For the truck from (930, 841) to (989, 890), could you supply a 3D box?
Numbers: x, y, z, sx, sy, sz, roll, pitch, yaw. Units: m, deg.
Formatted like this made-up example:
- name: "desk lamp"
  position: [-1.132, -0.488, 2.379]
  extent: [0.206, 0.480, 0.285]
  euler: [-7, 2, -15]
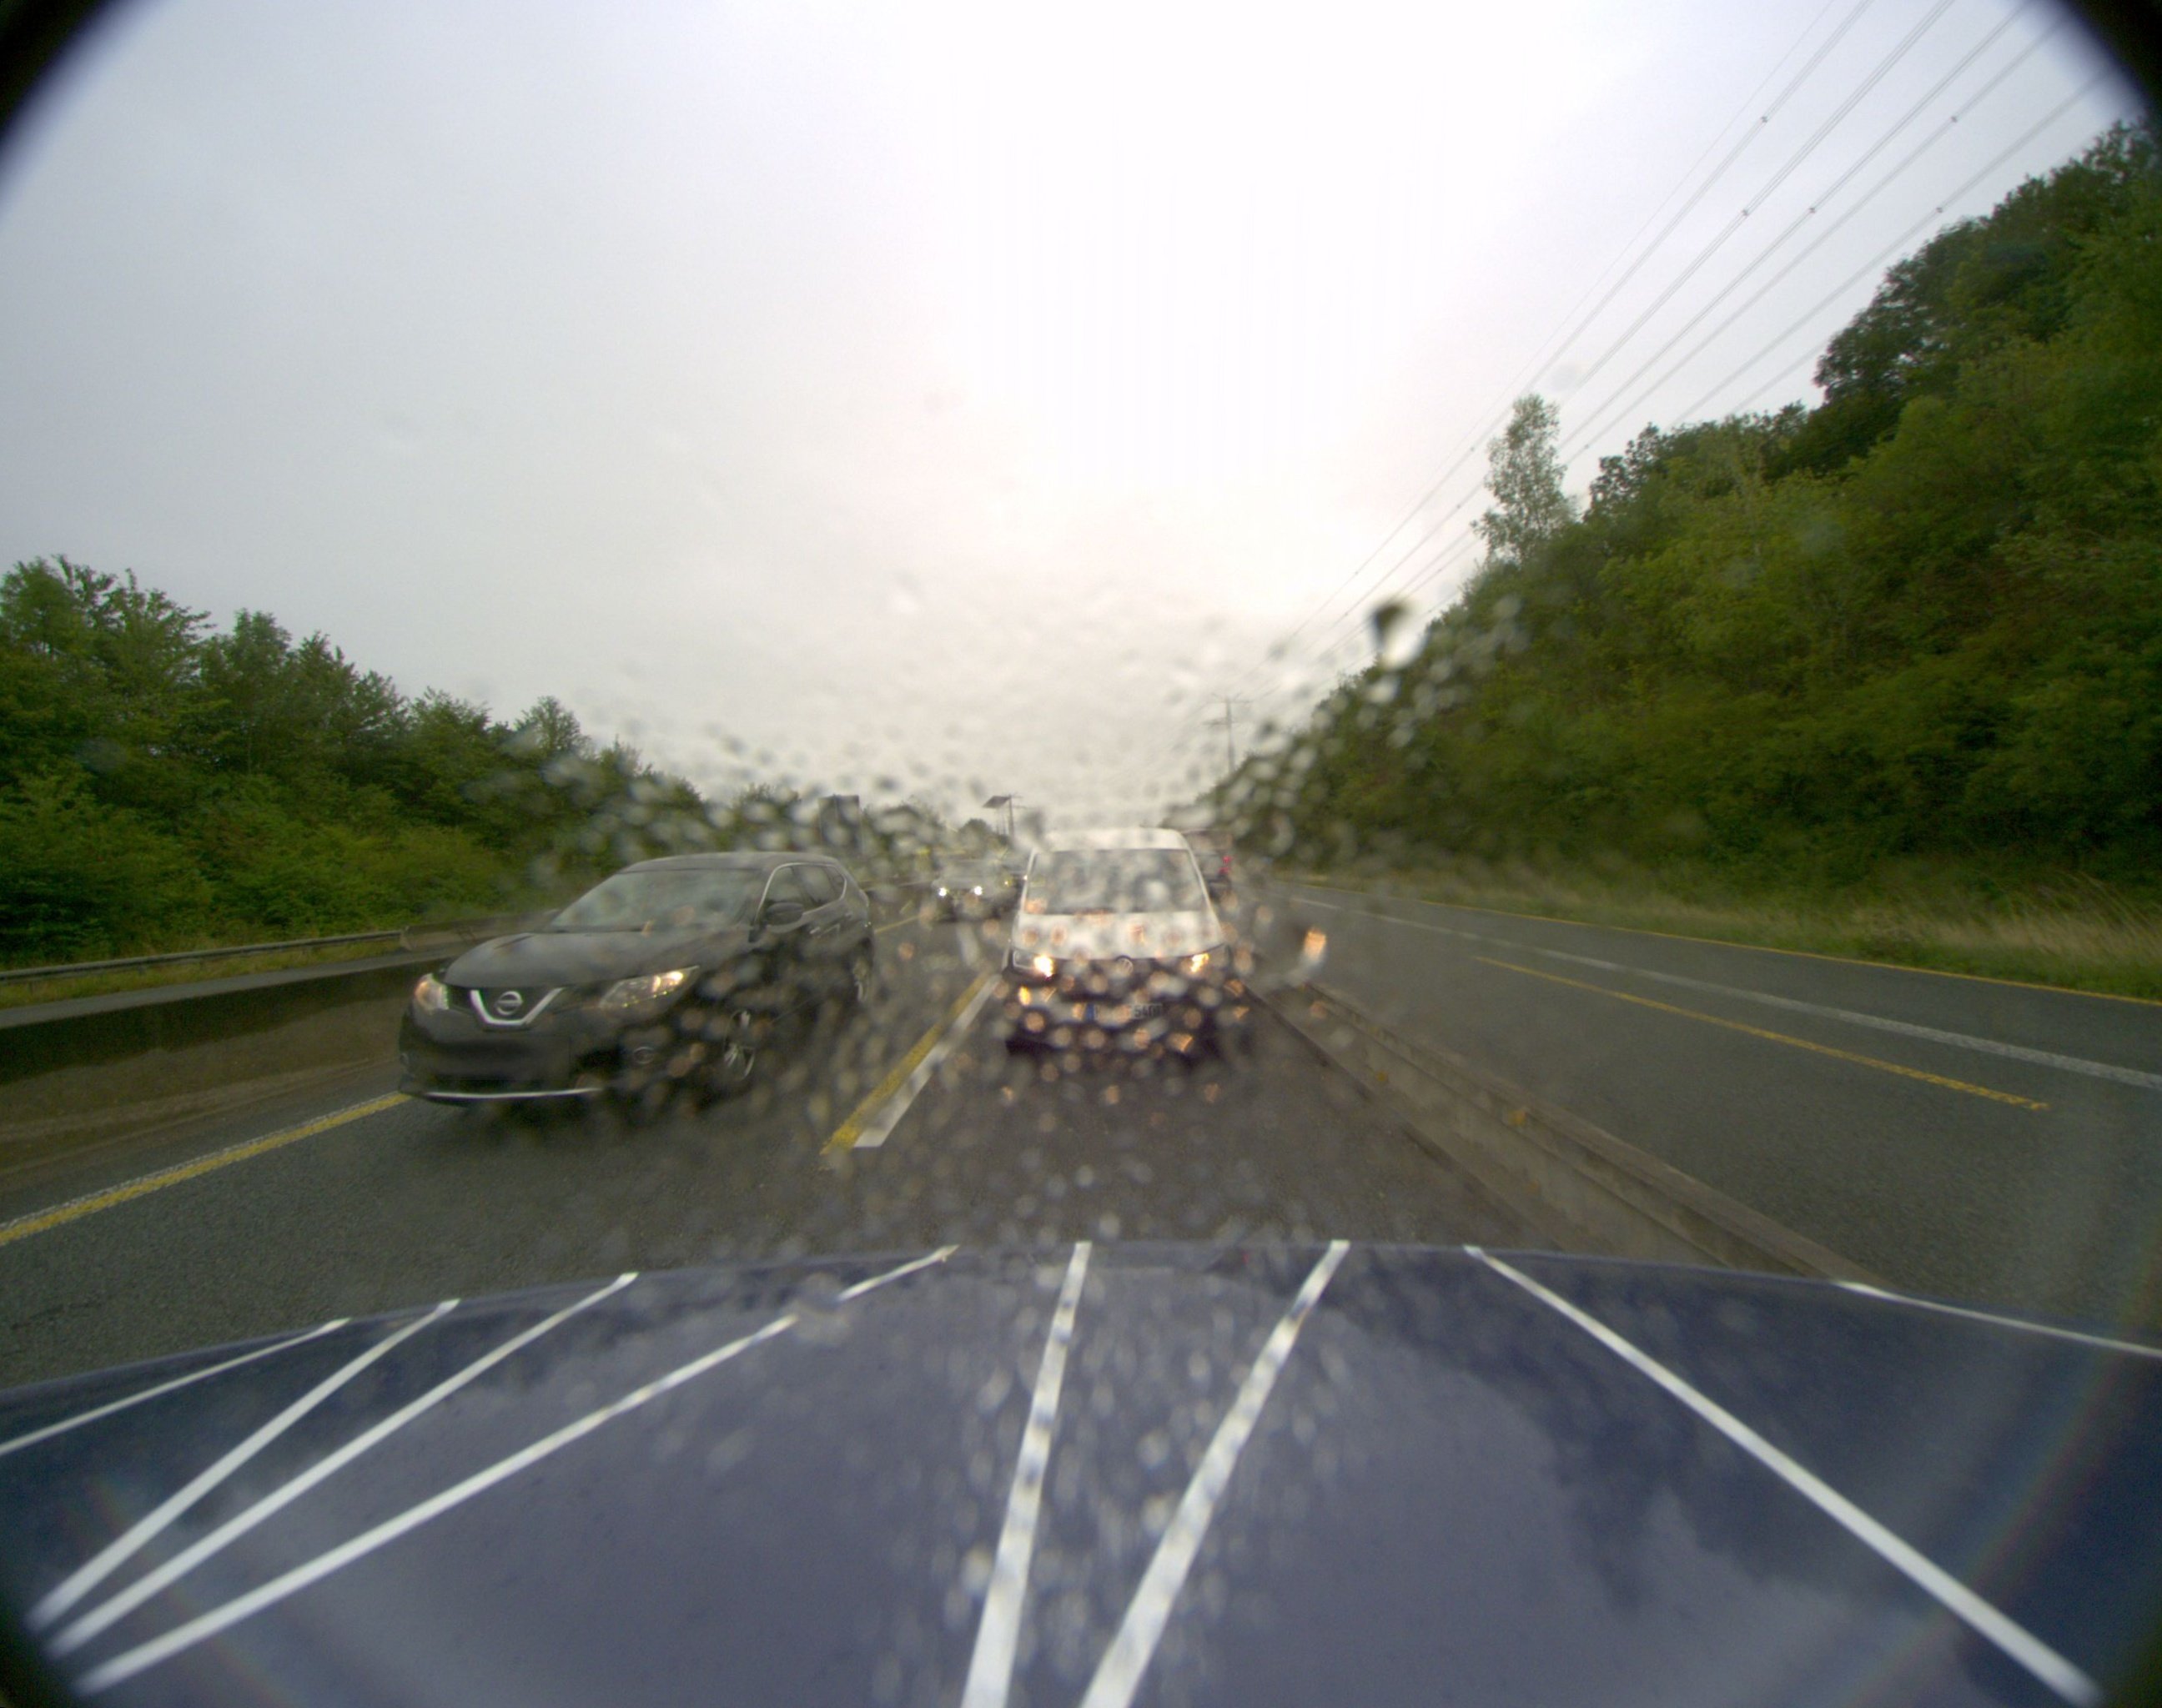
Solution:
- name: "truck"
  position: [-9.380, 0.774, 59.726]
  extent: [2.619, 3.404, 9.576]
  euler: [-2, 1, 2]

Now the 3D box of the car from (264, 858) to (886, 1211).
- name: "car"
  position: [-3.174, 0.940, 6.203]
  extent: [1.894, 1.665, 4.640]
  euler: [-2, 1, 0]

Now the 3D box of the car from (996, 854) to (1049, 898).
- name: "car"
  position: [-2.338, 0.866, 31.352]
  extent: [1.784, 1.589, 4.123]
  euler: [-2, 1, 0]

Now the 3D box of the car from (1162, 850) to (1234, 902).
- name: "car"
  position: [3.904, 0.675, 25.926]
  extent: [1.815, 1.550, 3.989]
  euler: [-2, 1, 0]

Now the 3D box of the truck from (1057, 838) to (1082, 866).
- name: "truck"
  position: [-1.459, -0.332, 101.292]
  extent: [2.619, 3.404, 9.575]
  euler: [-2, 1, 2]

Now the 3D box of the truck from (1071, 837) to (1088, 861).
- name: "truck"
  position: [-0.160, -0.902, 128.474]
  extent: [2.619, 3.869, 9.574]
  euler: [-2, 1, 0]

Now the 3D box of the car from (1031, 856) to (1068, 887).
- name: "car"
  position: [-1.695, 0.926, 41.987]
  extent: [1.784, 1.482, 4.123]
  euler: [-2, 1, 0]

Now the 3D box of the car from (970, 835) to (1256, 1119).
- name: "car"
  position: [0.215, 0.768, 7.233]
  extent: [1.784, 1.775, 4.697]
  euler: [-2, 1, 0]

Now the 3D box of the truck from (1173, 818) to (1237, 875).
- name: "truck"
  position: [8.065, -0.507, 50.939]
  extent: [2.541, 3.333, 12.049]
  euler: [-2, 1, 1]

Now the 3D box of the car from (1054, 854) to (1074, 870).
- name: "car"
  position: [-1.678, 0.800, 75.534]
  extent: [1.784, 1.482, 4.123]
  euler: [-2, 1, 0]

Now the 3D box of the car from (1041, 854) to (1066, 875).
- name: "car"
  position: [-2.113, 0.783, 60.075]
  extent: [1.784, 1.482, 4.123]
  euler: [-2, 1, 0]

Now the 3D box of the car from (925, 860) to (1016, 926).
- name: "car"
  position: [-2.872, 0.963, 20.561]
  extent: [1.784, 1.482, 4.123]
  euler: [-2, 1, 0]
